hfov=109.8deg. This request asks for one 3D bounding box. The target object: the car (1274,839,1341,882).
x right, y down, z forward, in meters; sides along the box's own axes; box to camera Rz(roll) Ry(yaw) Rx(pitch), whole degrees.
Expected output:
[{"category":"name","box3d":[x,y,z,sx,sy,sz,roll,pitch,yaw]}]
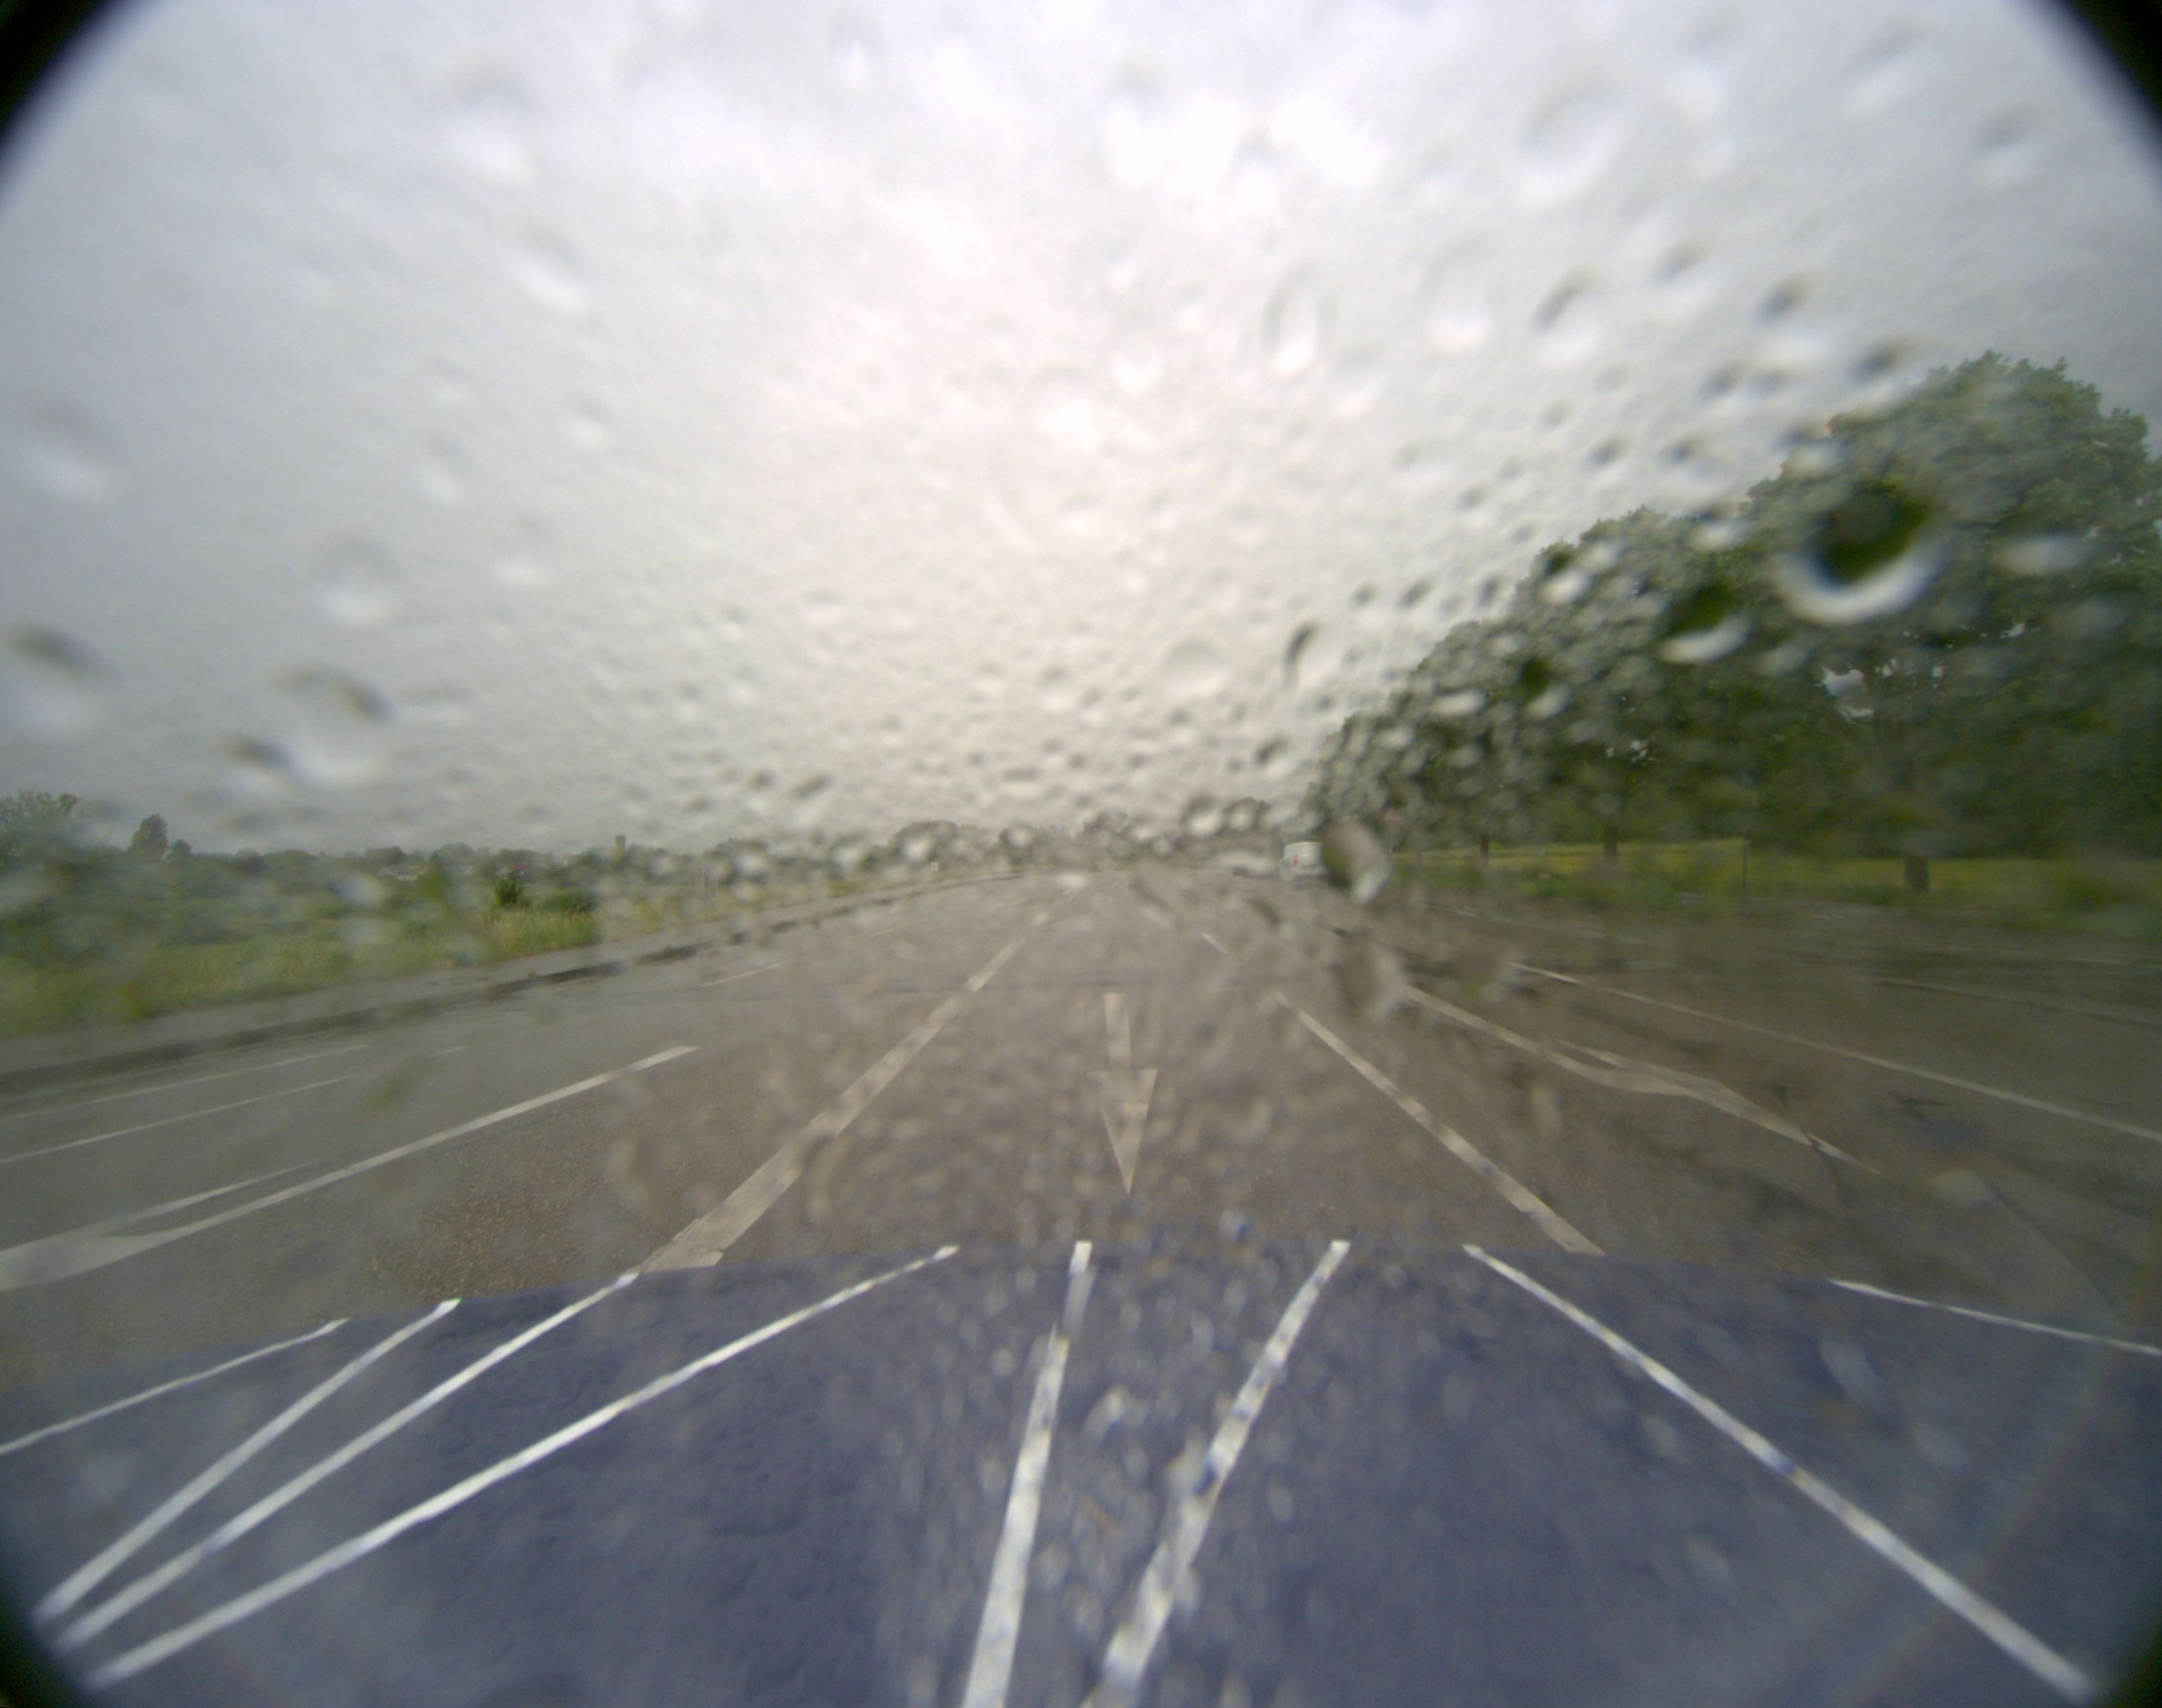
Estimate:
[{"category":"car","box3d":[10.799,0.287,36.619,2.111,1.881,4.792,-1,0,4]}]
